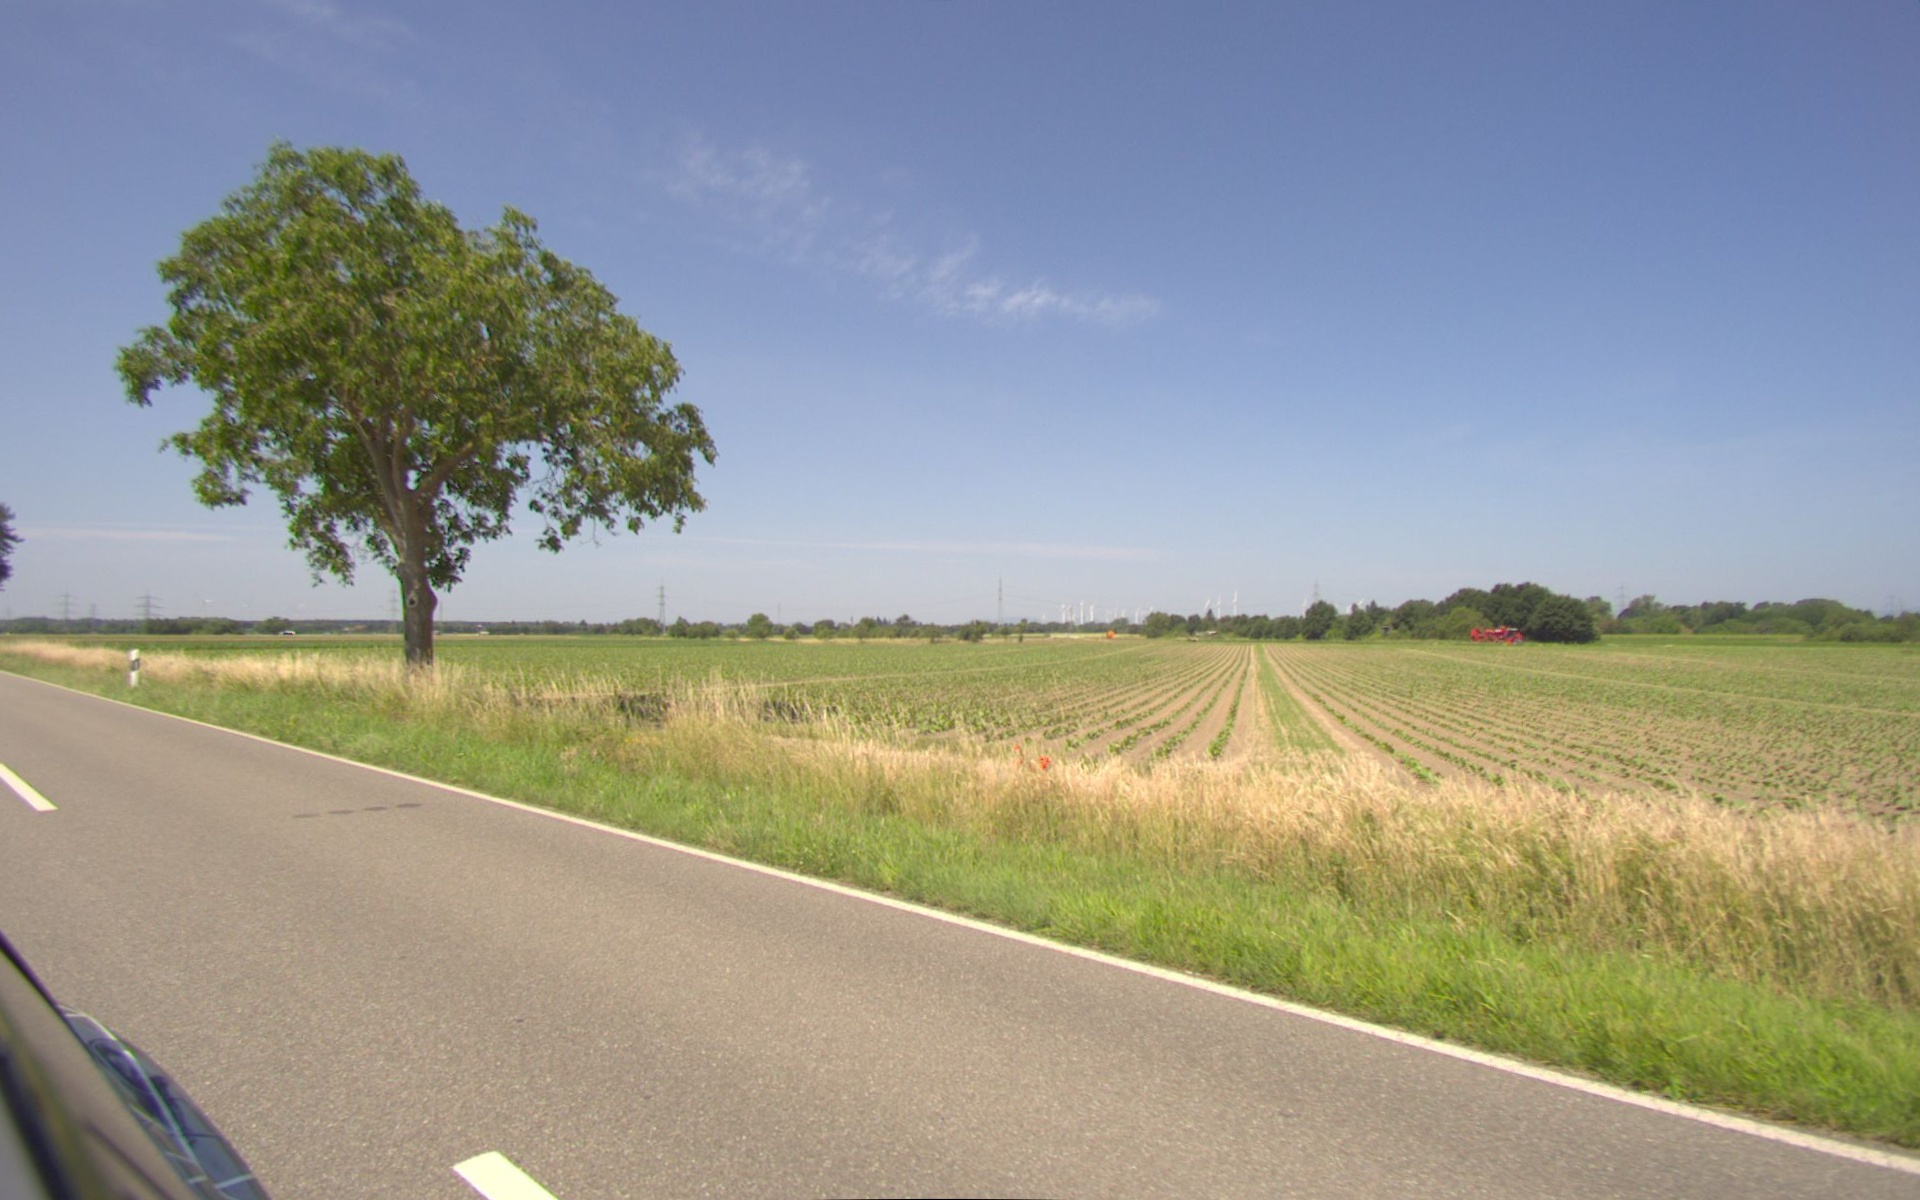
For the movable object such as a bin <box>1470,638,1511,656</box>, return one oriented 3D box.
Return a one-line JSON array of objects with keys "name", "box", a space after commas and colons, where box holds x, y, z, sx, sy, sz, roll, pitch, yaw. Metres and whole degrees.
[{"name": "movable object such as a bin", "box": [117.053, 10.372, 223.530, 2.506, 3.879, 9.998, 1, -3, -9]}]
